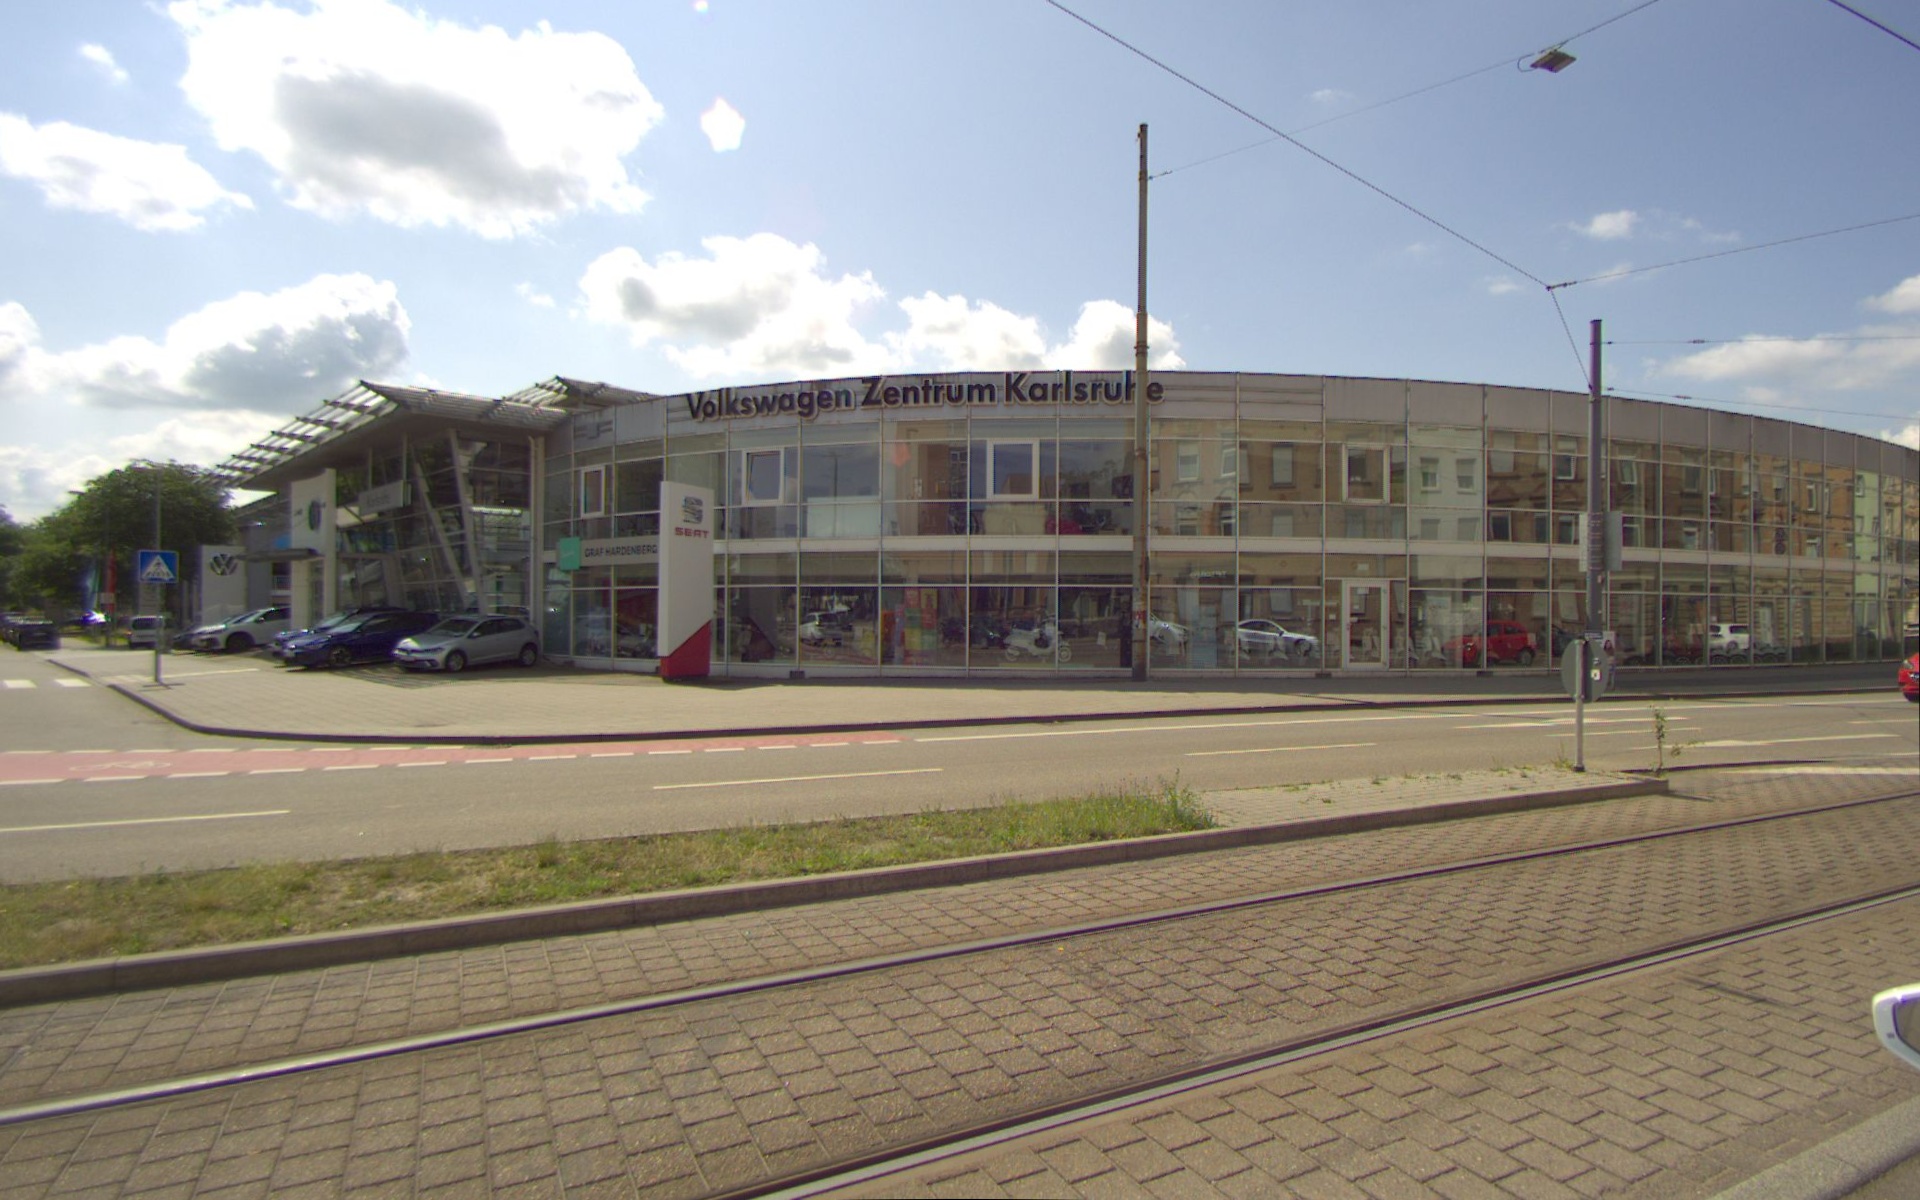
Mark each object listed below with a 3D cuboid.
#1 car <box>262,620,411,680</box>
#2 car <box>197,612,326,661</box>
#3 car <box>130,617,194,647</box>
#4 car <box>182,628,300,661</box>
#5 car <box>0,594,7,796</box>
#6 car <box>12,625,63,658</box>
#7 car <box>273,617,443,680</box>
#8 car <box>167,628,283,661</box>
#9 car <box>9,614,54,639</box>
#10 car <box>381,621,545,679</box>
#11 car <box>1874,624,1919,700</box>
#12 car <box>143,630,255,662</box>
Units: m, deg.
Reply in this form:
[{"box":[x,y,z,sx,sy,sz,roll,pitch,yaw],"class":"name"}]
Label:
[{"box":[-18.948,1.468,30.701,1.741,1.695,3.641,0,-1,16],"class":"car"},{"box":[-27.066,1.392,39.002,1.676,1.798,3.844,-1,-1,42],"class":"car"},{"box":[-44.244,1.752,55.756,1.974,1.639,3.973,1,-1,-27],"class":"car"},{"box":[-29.059,1.770,40.682,1.533,1.262,3.625,-1,-1,37],"class":"car"},{"box":[-10.580,0.850,7.706,4.308,1.890,1.906,0,-2,-25],"class":"car"},{"box":[-51.150,2.269,55.776,1.985,1.706,3.951,-2,0,-42],"class":"car"},{"box":[-16.915,1.306,28.397,1.632,1.494,3.777,0,2,33],"class":"car"},{"box":[-30.775,1.848,42.134,1.531,1.262,3.629,-1,-1,33],"class":"car"},{"box":[-65.296,1.838,70.675,1.982,1.639,3.956,1,-1,-38],"class":"car"},{"box":[-13.761,1.342,28.069,1.799,1.466,3.946,0,-1,20],"class":"car"},{"box":[20.174,1.188,19.792,3.845,1.447,1.699,0,-2,-22],"class":"car"},{"box":[-33.076,1.975,43.740,1.531,1.262,3.629,-1,-1,33],"class":"car"}]
